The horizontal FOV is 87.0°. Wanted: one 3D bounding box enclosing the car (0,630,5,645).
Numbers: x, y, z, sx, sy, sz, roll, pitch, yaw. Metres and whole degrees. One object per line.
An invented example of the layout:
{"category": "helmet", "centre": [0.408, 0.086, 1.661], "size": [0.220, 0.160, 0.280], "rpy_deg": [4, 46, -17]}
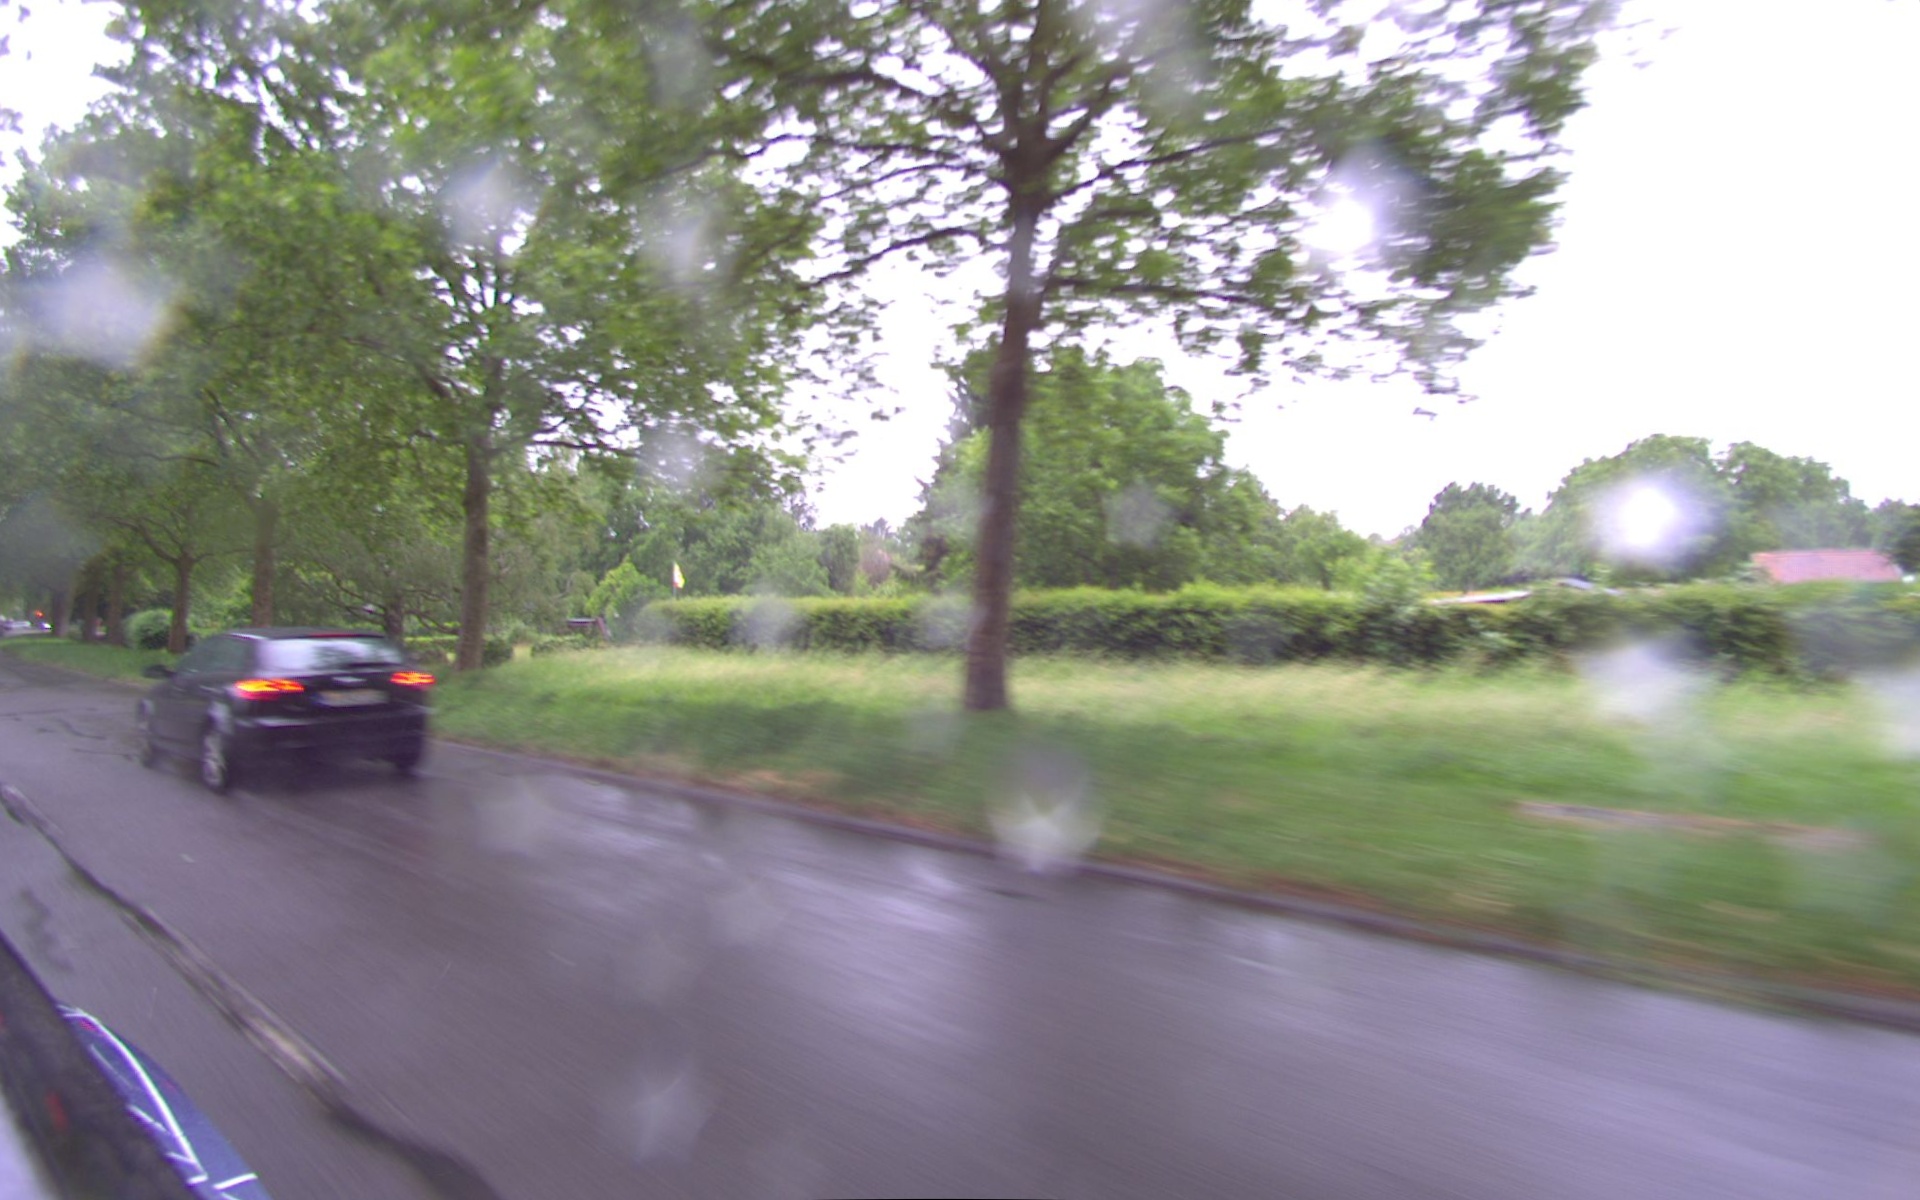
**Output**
{"category": "car", "centre": [-115.385, 4.526, 120.717], "size": [5.017, 1.763, 1.842], "rpy_deg": [-2, -2, 44]}

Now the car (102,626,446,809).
{"category": "car", "centre": [-6.909, 1.001, 10.023], "size": [4.221, 1.434, 1.714], "rpy_deg": [-2, -2, 40]}
